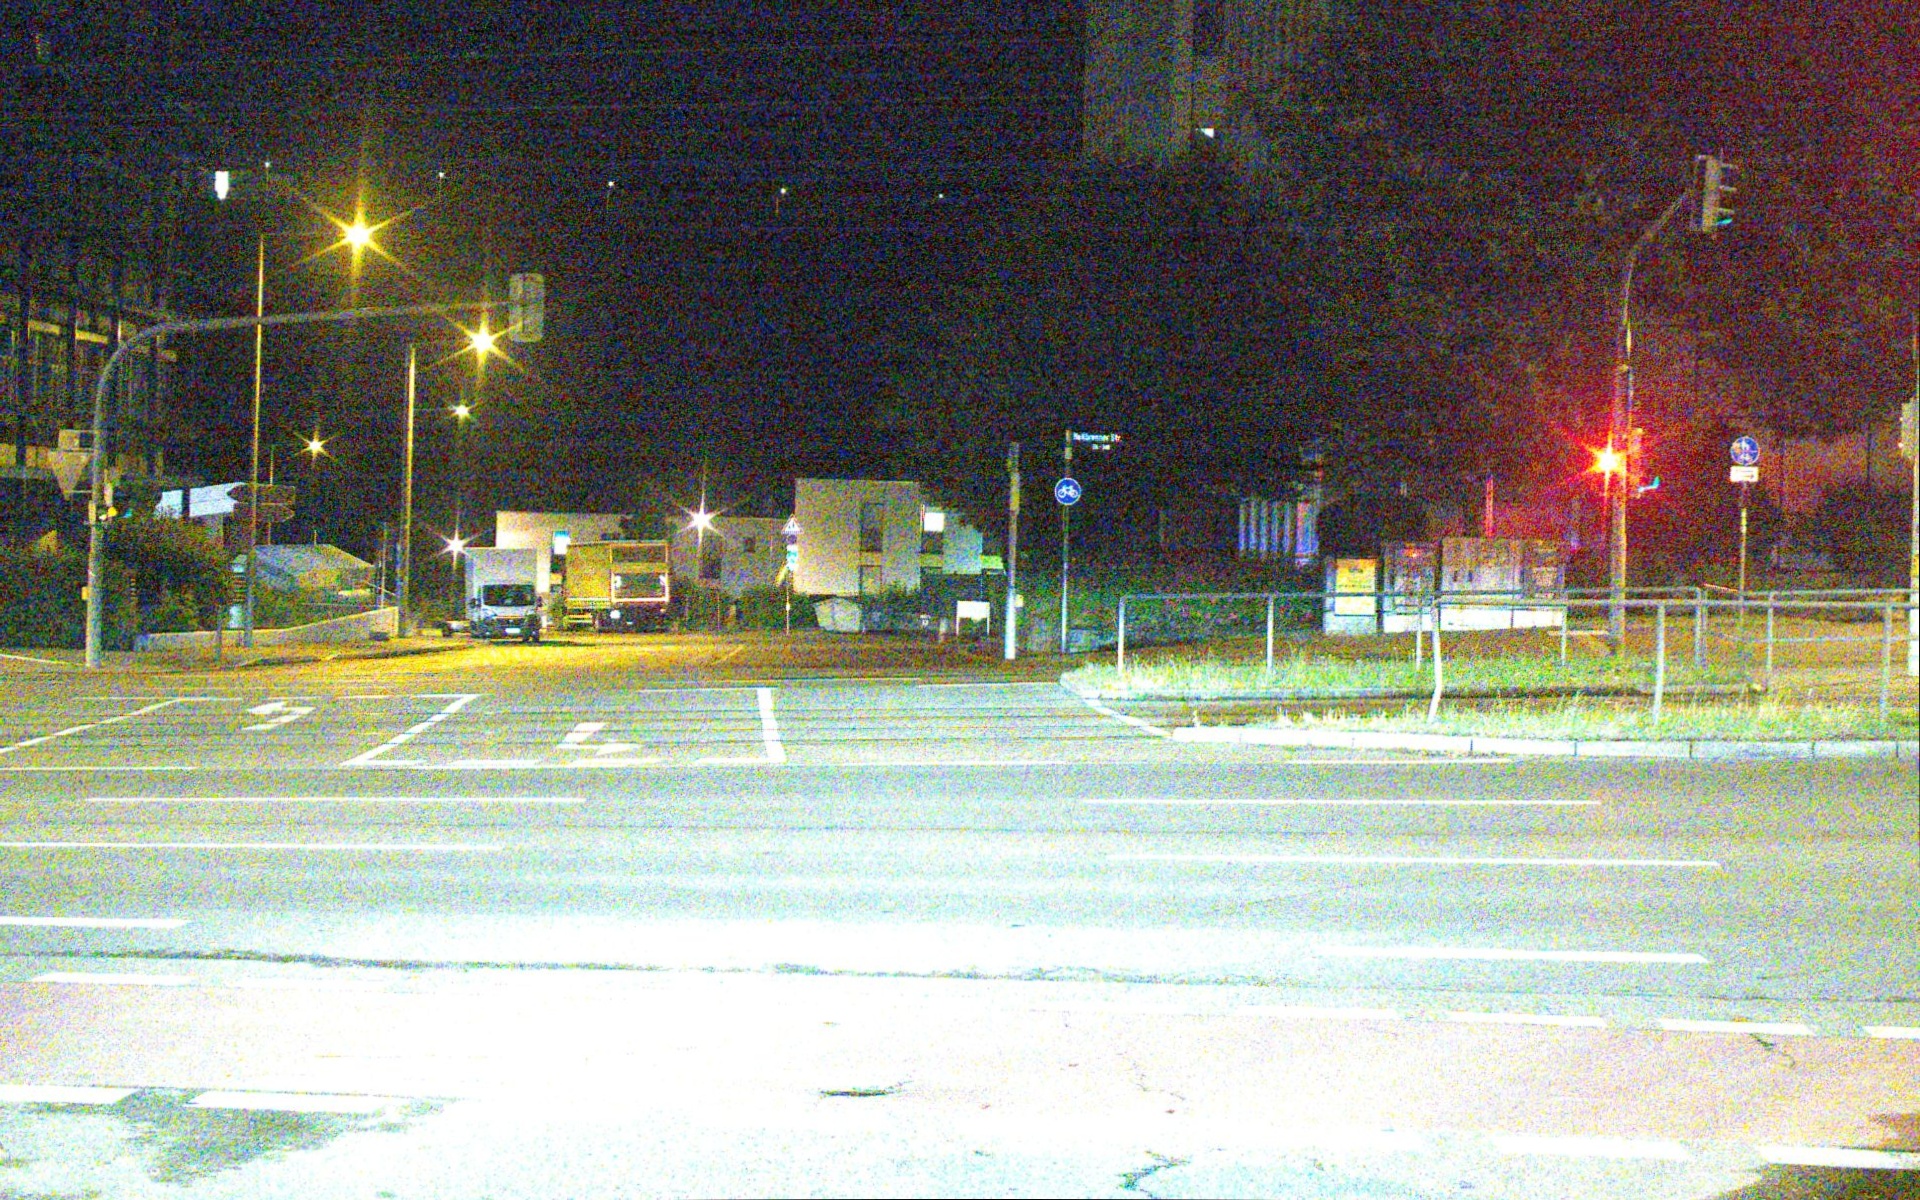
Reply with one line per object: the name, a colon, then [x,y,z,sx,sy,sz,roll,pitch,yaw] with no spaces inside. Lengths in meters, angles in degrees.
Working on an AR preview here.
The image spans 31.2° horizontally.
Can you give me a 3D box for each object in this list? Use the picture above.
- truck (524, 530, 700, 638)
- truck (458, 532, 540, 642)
truck: [-15.451,-0.752,151.233,4.821,4.531,12.669,1,1,-19]
truck: [-16.007,-0.462,119.178,2.582,3.694,5.739,1,1,-9]
